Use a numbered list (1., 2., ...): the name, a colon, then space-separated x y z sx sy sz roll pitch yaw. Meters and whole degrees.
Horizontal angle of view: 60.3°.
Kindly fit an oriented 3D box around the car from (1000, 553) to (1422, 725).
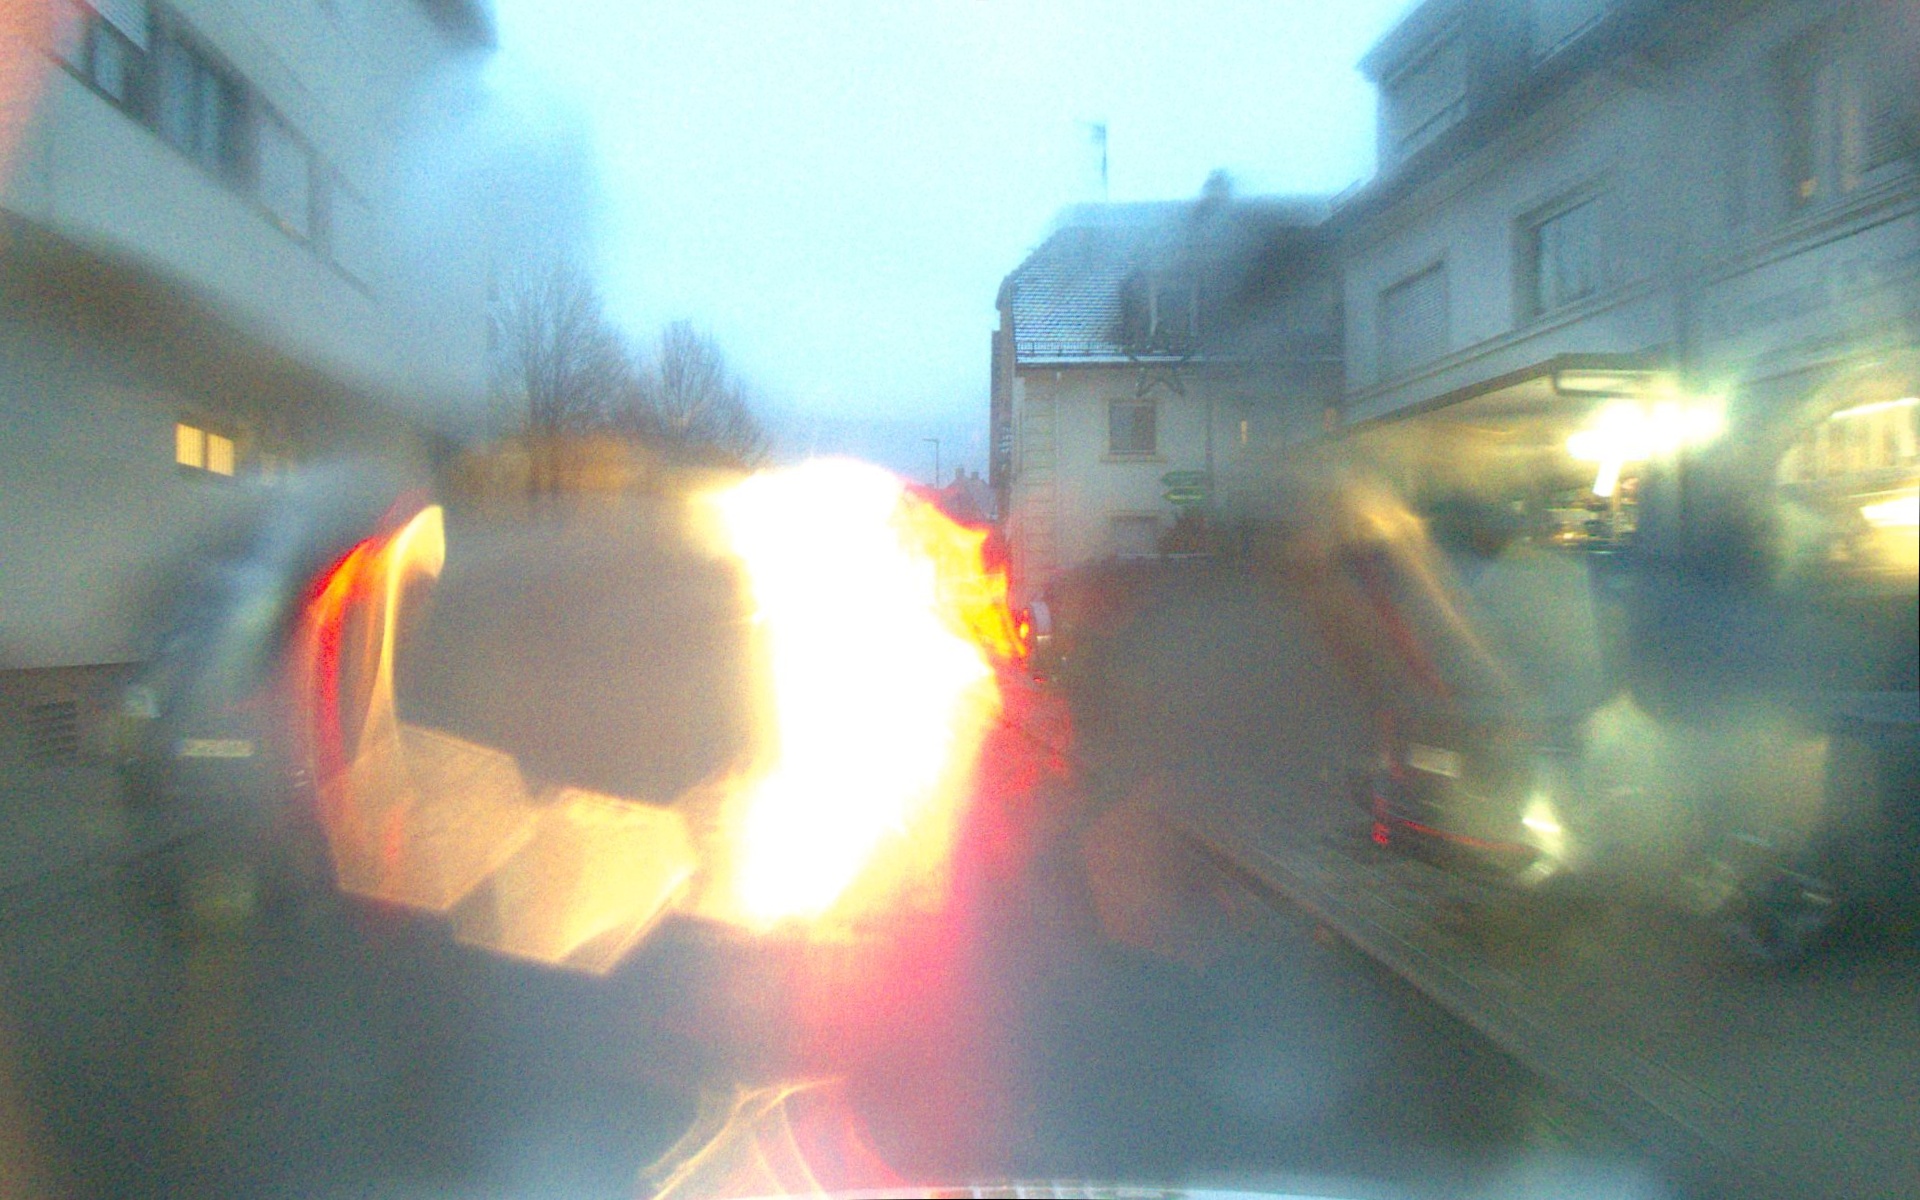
1. car: 2.865 0.408 19.372 4.518 1.807 1.941 -1 1 -9

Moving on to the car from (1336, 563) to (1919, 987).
1. car: 4.108 0.602 7.307 4.380 1.499 1.896 -2 1 -6

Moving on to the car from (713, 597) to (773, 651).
1. car: -6.646 0.714 50.875 1.605 1.562 3.404 0 0 -4

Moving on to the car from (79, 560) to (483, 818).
1. car: -4.985 0.570 12.730 1.759 1.671 3.809 1 0 -5

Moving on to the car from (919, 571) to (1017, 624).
1. car: 0.367 -0.123 69.158 4.012 2.200 1.914 0 0 2

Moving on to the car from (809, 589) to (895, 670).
1. car: -2.162 0.543 32.843 1.606 1.507 3.268 1 1 -4

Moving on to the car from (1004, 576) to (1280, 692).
1. car: 2.693 0.481 24.818 3.799 1.607 1.678 -1 0 -10

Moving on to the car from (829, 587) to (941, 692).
1. car: -1.188 0.574 25.642 1.605 1.507 3.376 1 0 -4

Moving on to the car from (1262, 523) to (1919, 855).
1. car: 3.831 0.472 10.249 3.440 1.710 1.712 -2 1 -10

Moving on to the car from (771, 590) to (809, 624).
1. car: -8.384 0.316 81.702 1.775 1.624 4.395 0 1 -5

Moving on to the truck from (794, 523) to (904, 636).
1. truck: -3.539 -0.609 50.775 2.958 3.183 7.988 0 0 -7
